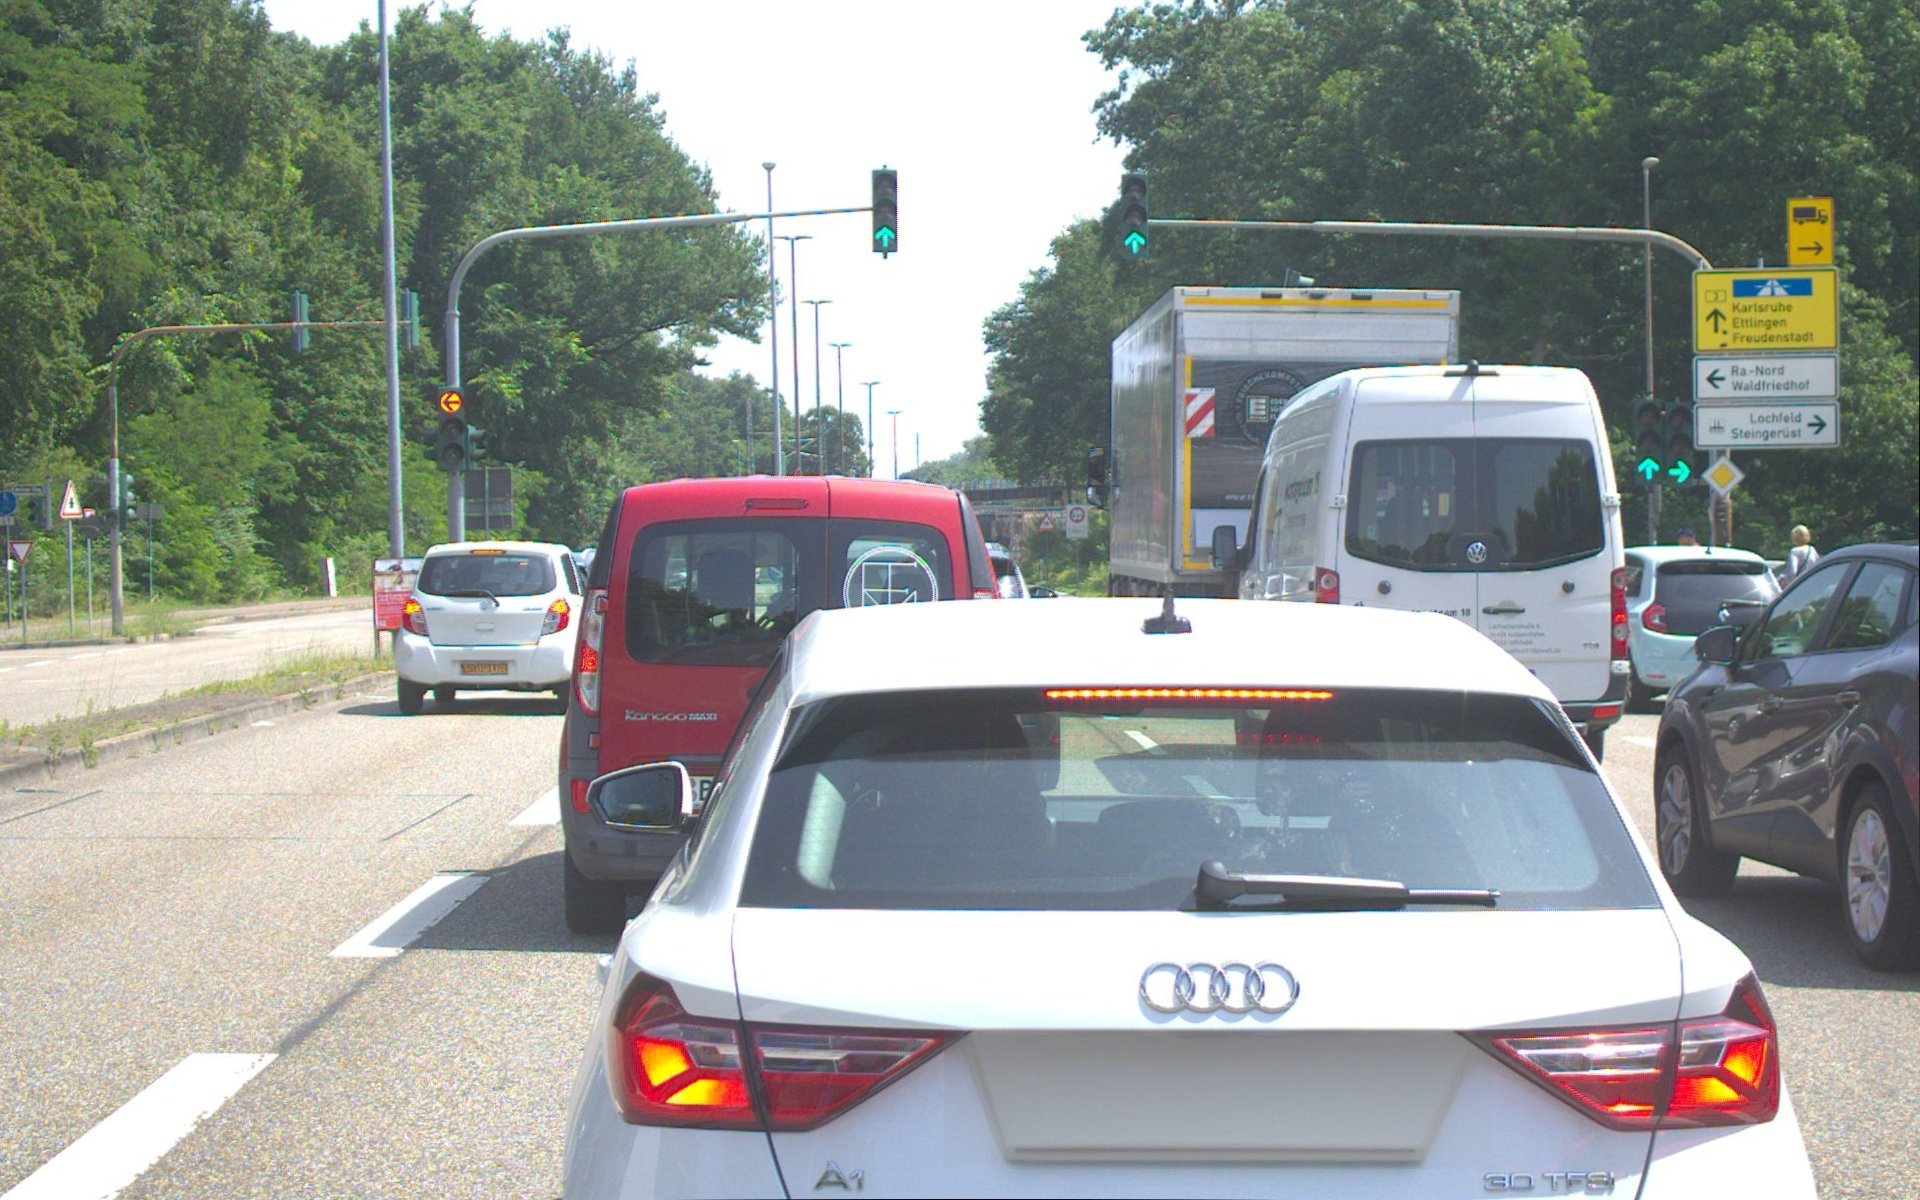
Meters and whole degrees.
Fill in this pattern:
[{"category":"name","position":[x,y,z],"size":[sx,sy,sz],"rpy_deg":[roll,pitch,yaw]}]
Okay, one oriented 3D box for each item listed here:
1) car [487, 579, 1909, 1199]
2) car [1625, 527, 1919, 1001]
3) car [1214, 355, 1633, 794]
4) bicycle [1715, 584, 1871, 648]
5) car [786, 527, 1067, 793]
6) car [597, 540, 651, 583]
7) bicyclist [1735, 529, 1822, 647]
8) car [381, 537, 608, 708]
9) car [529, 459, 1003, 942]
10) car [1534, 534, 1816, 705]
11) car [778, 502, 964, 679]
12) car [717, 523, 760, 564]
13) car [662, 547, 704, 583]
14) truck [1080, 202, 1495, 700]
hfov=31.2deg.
[{"category":"car","position":[0.207,0.678,6.177],"size":[1.711,1.381,4.092],"rpy_deg":[0,1,-2]},{"category":"car","position":[3.961,0.514,13.594],"size":[1.711,1.587,4.092],"rpy_deg":[0,1,-2]},{"category":"car","position":[2.971,-0.195,23.129],"size":[2.031,2.635,4.846],"rpy_deg":[0,1,-2]},{"category":"bicycle","position":[10.286,0.195,42.489],"size":[0.599,0.763,1.826],"rpy_deg":[-2,1,-43]},{"category":"car","position":[-0.289,0.332,23.054],"size":[1.711,1.626,4.092],"rpy_deg":[0,1,-2]},{"category":"car","position":[-14.355,-1.645,147.074],"size":[1.993,1.766,4.205],"rpy_deg":[-1,1,-2]},{"category":"bicyclist","position":[10.147,-0.154,42.618],"size":[0.597,1.434,0.828],"rpy_deg":[-2,1,-43]},{"category":"car","position":[-4.257,0.163,31.957],"size":[1.711,1.487,4.092],"rpy_deg":[0,1,-2]},{"category":"car","position":[-0.784,0.326,14.474],"size":[1.711,1.742,4.092],"rpy_deg":[0,1,-2]},{"category":"car","position":[6.806,0.138,33.120],"size":[1.711,1.541,4.092],"rpy_deg":[0,1,-2]},{"category":"car","position":[-0.904,-0.123,33.775],"size":[1.711,1.626,4.092],"rpy_deg":[0,1,-2]},{"category":"car","position":[-10.491,-2.683,163.024],"size":[1.872,1.854,4.000],"rpy_deg":[-1,1,-2]},{"category":"car","position":[-13.636,-1.747,169.377],"size":[1.830,1.722,4.000],"rpy_deg":[-1,1,-1]},{"category":"truck","position":[3.121,-1.432,36.449],"size":[3.088,4.418,11.581],"rpy_deg":[0,1,-1]}]
